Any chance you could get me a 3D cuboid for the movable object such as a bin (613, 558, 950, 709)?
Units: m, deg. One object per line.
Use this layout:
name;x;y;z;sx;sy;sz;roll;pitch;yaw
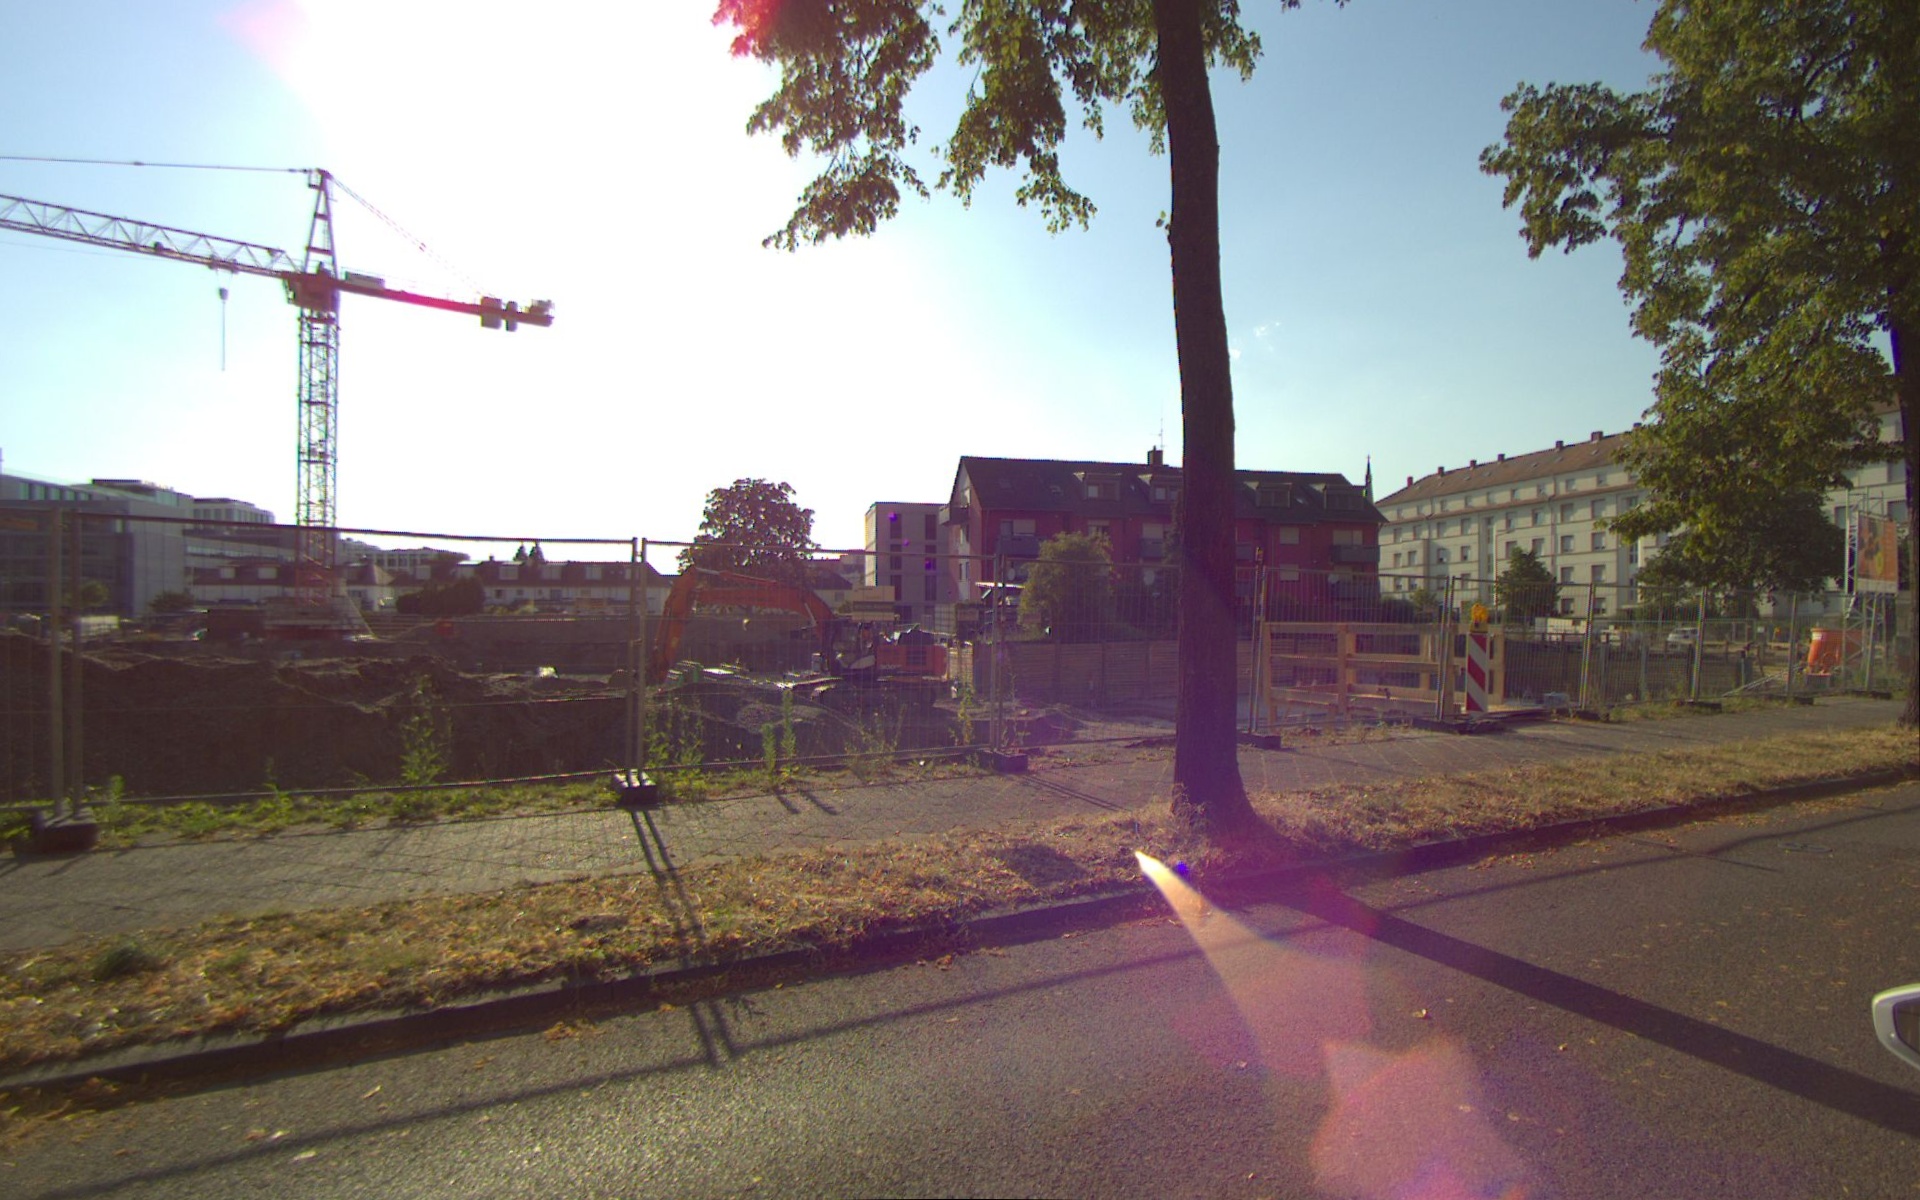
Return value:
movable object such as a bin;-6.184;1.181;35.915;11.346;5.057;3.017;0;-3;-8
